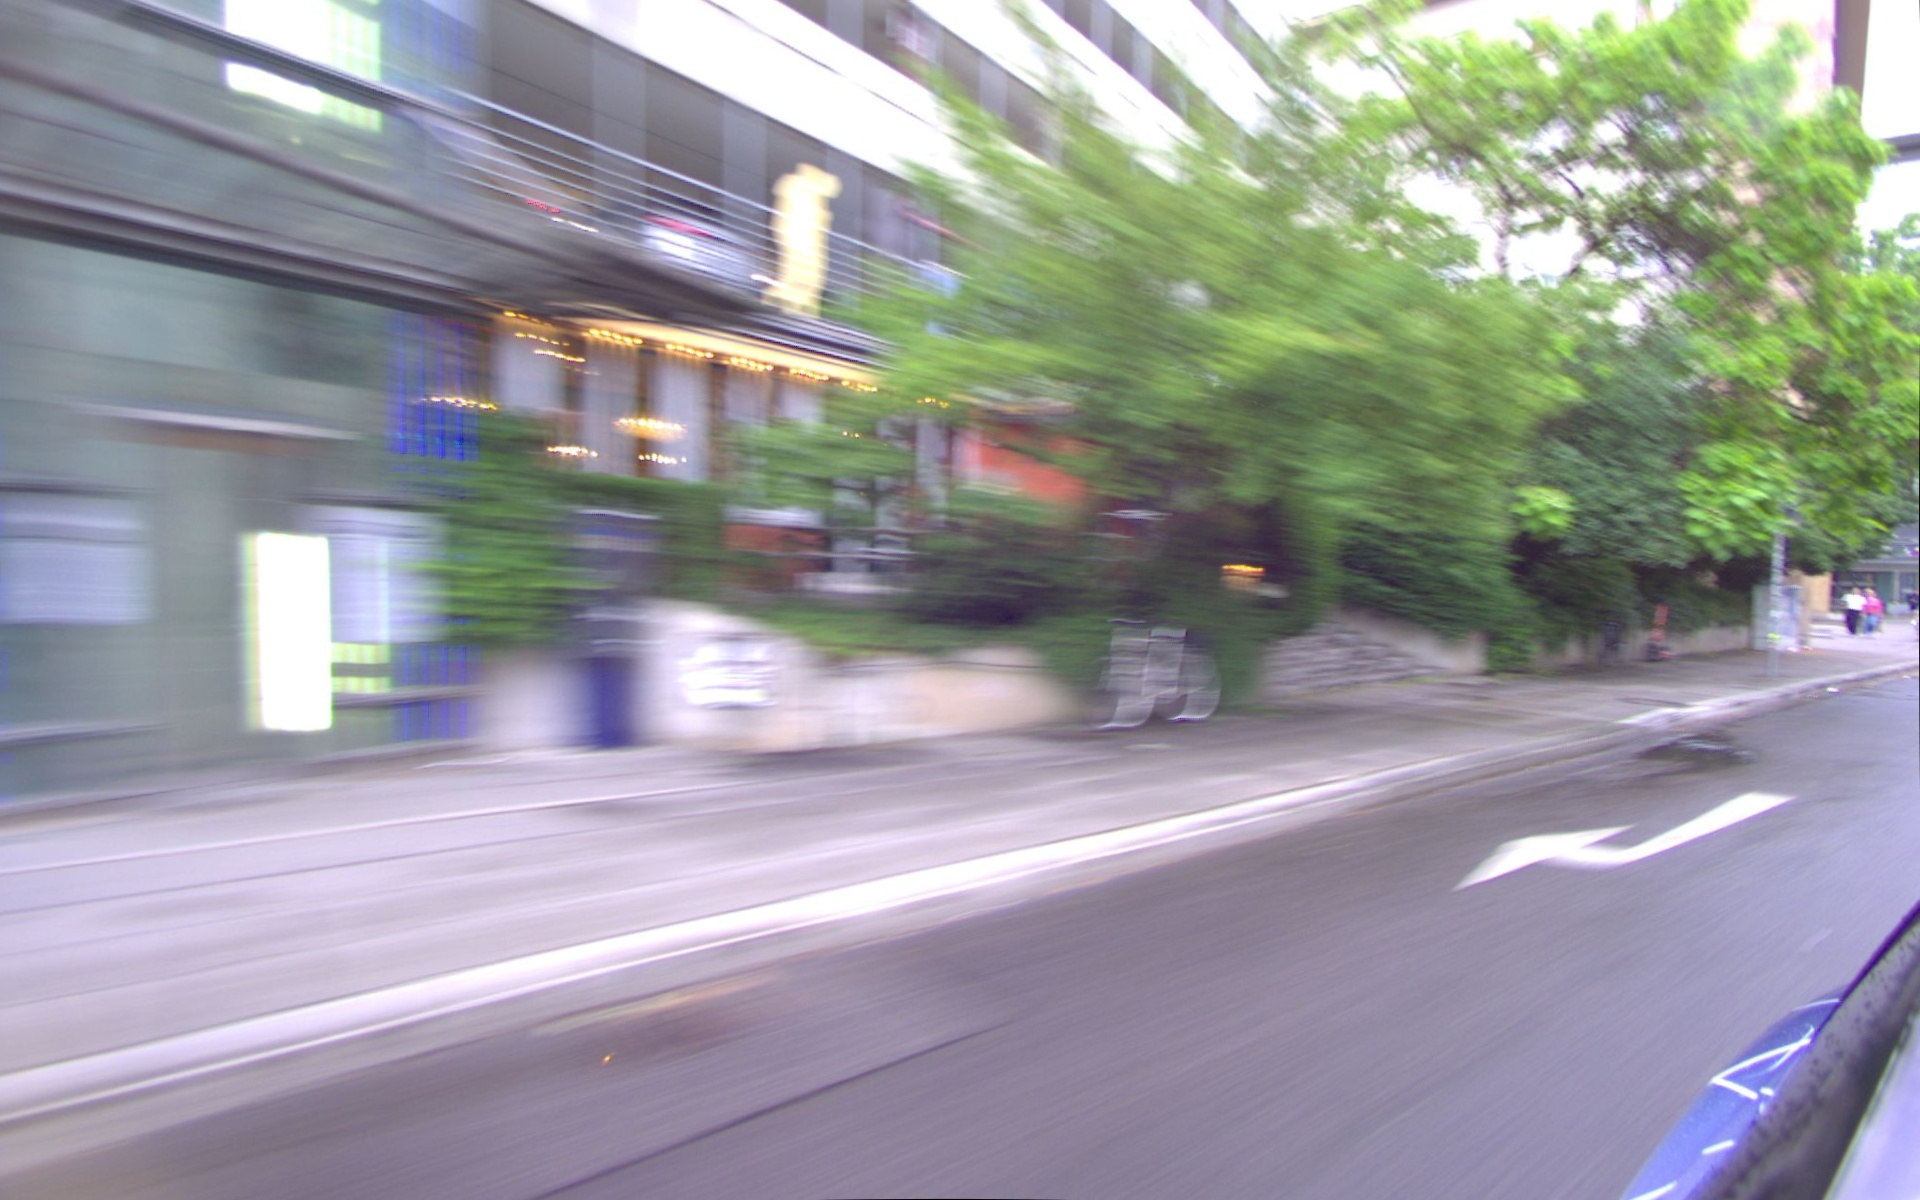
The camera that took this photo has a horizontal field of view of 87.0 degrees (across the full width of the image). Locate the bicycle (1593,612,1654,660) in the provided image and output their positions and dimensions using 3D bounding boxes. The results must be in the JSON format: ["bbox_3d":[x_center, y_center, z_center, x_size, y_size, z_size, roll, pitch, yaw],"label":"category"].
[{"bbox_3d":[11.634,0.621,17.735,1.189,0.763,0.502,0,5,-39],"label":"bicycle"}]

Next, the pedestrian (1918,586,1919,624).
[{"bbox_3d":[45.829,0.245,47.777,0.848,1.793,0.780,0,2,-42],"label":"pedestrian"}]

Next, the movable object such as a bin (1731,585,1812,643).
[{"bbox_3d":[20.306,0.331,25.324,1.211,1.326,1.243,0,4,-37],"label":"movable object such as a bin"}]

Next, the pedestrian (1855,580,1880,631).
[{"bbox_3d":[29.837,0.178,33.282,0.524,1.622,0.664,2,2,40],"label":"pedestrian"}]

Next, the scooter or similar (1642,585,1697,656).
[{"bbox_3d":[13.302,0.372,18.975,1.189,1.274,0.448,0,3,-39],"label":"scooter or similar"}]

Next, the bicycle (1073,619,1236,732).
[{"bbox_3d":[1.810,0.654,9.281,1.659,0.896,0.471,0,2,-38],"label":"bicycle"}]

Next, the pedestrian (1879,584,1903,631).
[{"bbox_3d":[30.431,0.245,33.080,0.524,1.510,0.664,3,2,42],"label":"pedestrian"}]
